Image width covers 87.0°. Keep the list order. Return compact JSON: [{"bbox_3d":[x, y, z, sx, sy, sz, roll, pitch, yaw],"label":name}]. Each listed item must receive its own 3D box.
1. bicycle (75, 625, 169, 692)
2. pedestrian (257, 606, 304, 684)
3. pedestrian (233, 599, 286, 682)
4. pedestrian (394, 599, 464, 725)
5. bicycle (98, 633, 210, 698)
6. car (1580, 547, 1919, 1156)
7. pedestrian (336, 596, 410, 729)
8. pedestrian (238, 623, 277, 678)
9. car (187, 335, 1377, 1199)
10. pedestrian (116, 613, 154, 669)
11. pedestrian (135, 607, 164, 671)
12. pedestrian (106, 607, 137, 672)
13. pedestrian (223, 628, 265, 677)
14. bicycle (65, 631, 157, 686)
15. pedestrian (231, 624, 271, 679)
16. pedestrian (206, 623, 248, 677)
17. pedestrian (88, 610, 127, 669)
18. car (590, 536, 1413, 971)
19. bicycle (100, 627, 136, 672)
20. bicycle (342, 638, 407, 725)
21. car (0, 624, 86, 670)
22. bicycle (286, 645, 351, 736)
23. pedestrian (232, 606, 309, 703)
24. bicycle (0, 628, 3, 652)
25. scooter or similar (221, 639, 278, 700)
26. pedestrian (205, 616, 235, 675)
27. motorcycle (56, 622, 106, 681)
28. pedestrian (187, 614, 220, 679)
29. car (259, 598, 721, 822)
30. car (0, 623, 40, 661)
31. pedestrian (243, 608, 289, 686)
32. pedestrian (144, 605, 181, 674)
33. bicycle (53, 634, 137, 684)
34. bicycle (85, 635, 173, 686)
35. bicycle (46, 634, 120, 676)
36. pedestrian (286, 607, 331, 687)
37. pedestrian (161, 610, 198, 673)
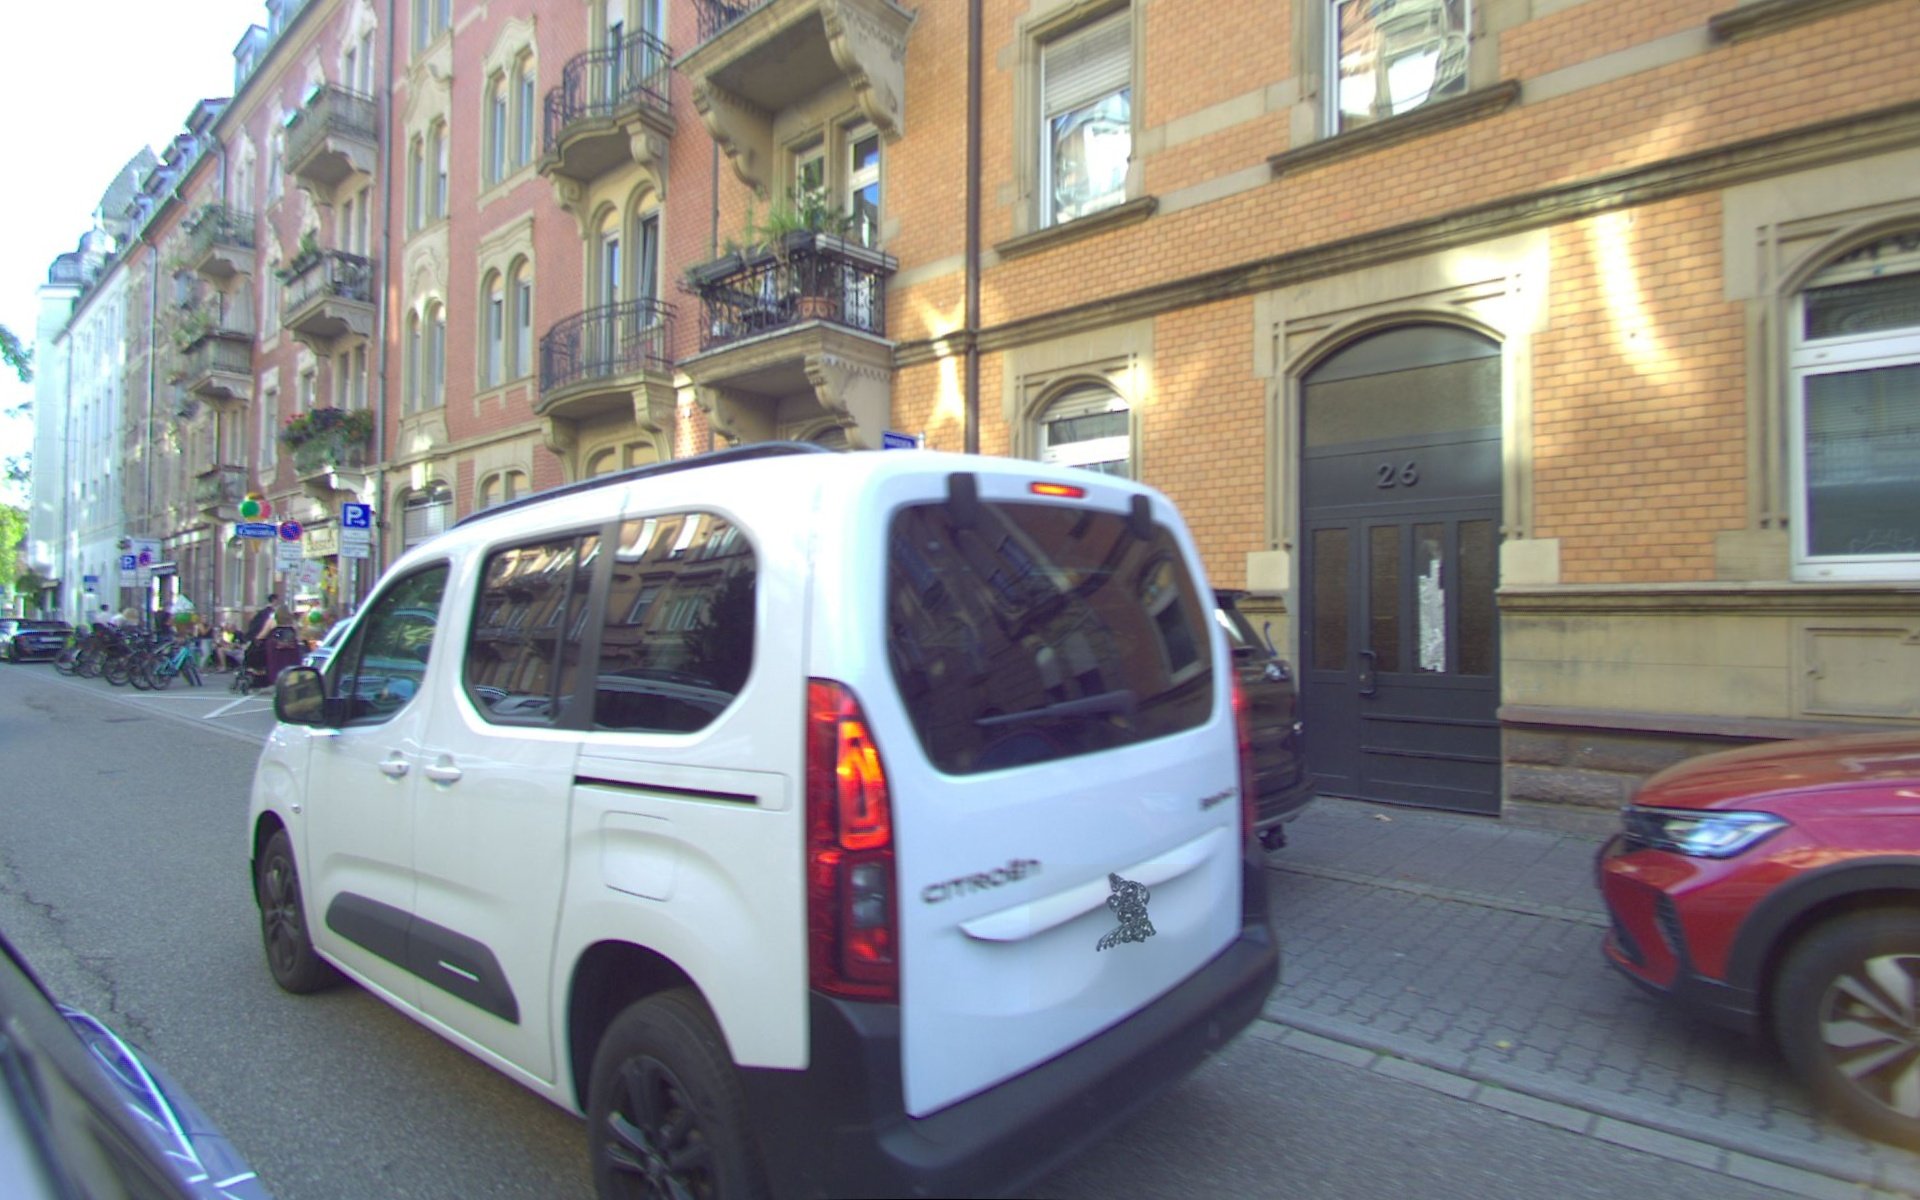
[{"bbox_3d":[-17.892,1.225,21.653,0.521,1.332,1.674,-1,-1,5],"label":"bicycle"},{"bbox_3d":[-14.969,0.981,22.306,0.579,1.709,0.663,-1,-1,11],"label":"pedestrian"},{"bbox_3d":[-16.172,0.928,23.373,0.658,1.868,0.761,-1,-1,11],"label":"pedestrian"},{"bbox_3d":[-7.252,0.825,13.828,0.545,1.674,0.679,-1,-1,12],"label":"pedestrian"},{"bbox_3d":[-16.105,1.275,20.303,0.795,1.167,2.275,0,-1,-11],"label":"bicycle"},{"bbox_3d":[4.205,0.655,2.388,4.424,1.556,1.973,-1,-2,41],"label":"car"},{"bbox_3d":[-7.805,0.820,13.468,0.659,1.722,0.564,-1,-1,7],"label":"pedestrian"},{"bbox_3d":[-17.123,1.222,24.667,0.372,1.323,0.694,-1,-1,37],"label":"pedestrian"},{"bbox_3d":[-1.105,0.582,3.634,4.437,1.842,1.897,-1,-1,42],"label":"car"},{"bbox_3d":[-26.595,1.320,32.623,0.750,1.773,0.668,0,-1,-18],"label":"pedestrian"},{"bbox_3d":[-22.722,1.080,28.383,0.596,1.765,0.727,0,-1,-38],"label":"pedestrian"},{"bbox_3d":[-23.450,1.090,28.322,0.596,1.765,0.947,0,-1,-36],"label":"pedestrian"},{"bbox_3d":[-17.857,1.301,25.242,0.585,1.206,0.701,-1,-1,38],"label":"pedestrian"},{"bbox_3d":[-20.039,1.363,23.943,0.583,1.209,1.788,-1,-1,5],"label":"bicycle"},{"bbox_3d":[-17.448,1.247,24.920,0.439,1.323,0.710,-1,-1,37],"label":"pedestrian"},{"bbox_3d":[-18.501,1.241,25.535,0.605,1.323,0.716,-1,-1,38],"label":"pedestrian"},{"bbox_3d":[-26.803,1.227,31.832,0.750,1.832,0.668,0,-1,-18],"label":"pedestrian"},{"bbox_3d":[-0.073,0.667,6.210,4.887,1.694,1.855,-2,-2,38],"label":"car"},{"bbox_3d":[-21.461,1.237,25.807,0.570,1.098,1.742,0,-1,-35],"label":"bicycle"},{"bbox_3d":[-8.375,1.120,14.446,0.487,1.103,1.908,-1,0,-39],"label":"bicycle"},{"bbox_3d":[-29.981,1.476,32.796,5.112,1.361,1.793,-1,-1,41],"label":"car"},{"bbox_3d":[-8.632,1.177,13.669,0.475,1.067,1.911,-1,0,-24],"label":"bicycle"},{"bbox_3d":[-12.310,0.943,18.068,0.826,1.674,0.903,-1,-1,33],"label":"pedestrian"},{"bbox_3d":[-46.732,1.915,48.056,0.688,1.184,1.847,-1,-1,43],"label":"bicycle"},{"bbox_3d":[-13.077,1.268,18.624,0.920,1.063,0.600,-1,-1,37],"label":"scooter or similar"},{"bbox_3d":[-19.240,1.172,26.318,0.596,1.481,0.727,0,-1,-38],"label":"pedestrian"},{"bbox_3d":[-22.071,1.265,25.445,0.697,1.395,2.029,0,-1,-34],"label":"motorcycle"},{"bbox_3d":[-19.188,1.168,25.667,0.584,1.629,0.547,-1,-1,42],"label":"pedestrian"},{"bbox_3d":[-4.651,0.826,9.565,5.256,1.590,1.807,-1,-1,38],"label":"car"},{"bbox_3d":[-37.336,1.604,39.362,4.007,1.426,1.653,-1,-1,38],"label":"car"},{"bbox_3d":[-15.455,1.037,22.536,0.640,1.709,0.563,-1,-1,11],"label":"pedestrian"},{"bbox_3d":[-22.110,1.085,28.062,0.637,1.906,0.603,0,-1,-18],"label":"pedestrian"},{"bbox_3d":[-20.639,1.389,24.192,0.583,1.129,1.568,-1,-1,5],"label":"bicycle"},{"bbox_3d":[-19.449,1.395,23.723,0.548,1.129,1.735,-1,-1,5],"label":"bicycle"},{"bbox_3d":[-23.814,1.485,27.487,1.556,1.125,0.375,0,-1,-9],"label":"bicycle"},{"bbox_3d":[-14.270,1.005,22.164,0.763,1.709,0.656,-1,-1,42],"label":"pedestrian"},{"bbox_3d":[-22.697,1.195,29.434,0.678,1.773,0.668,0,-1,-19],"label":"pedestrian"}]
